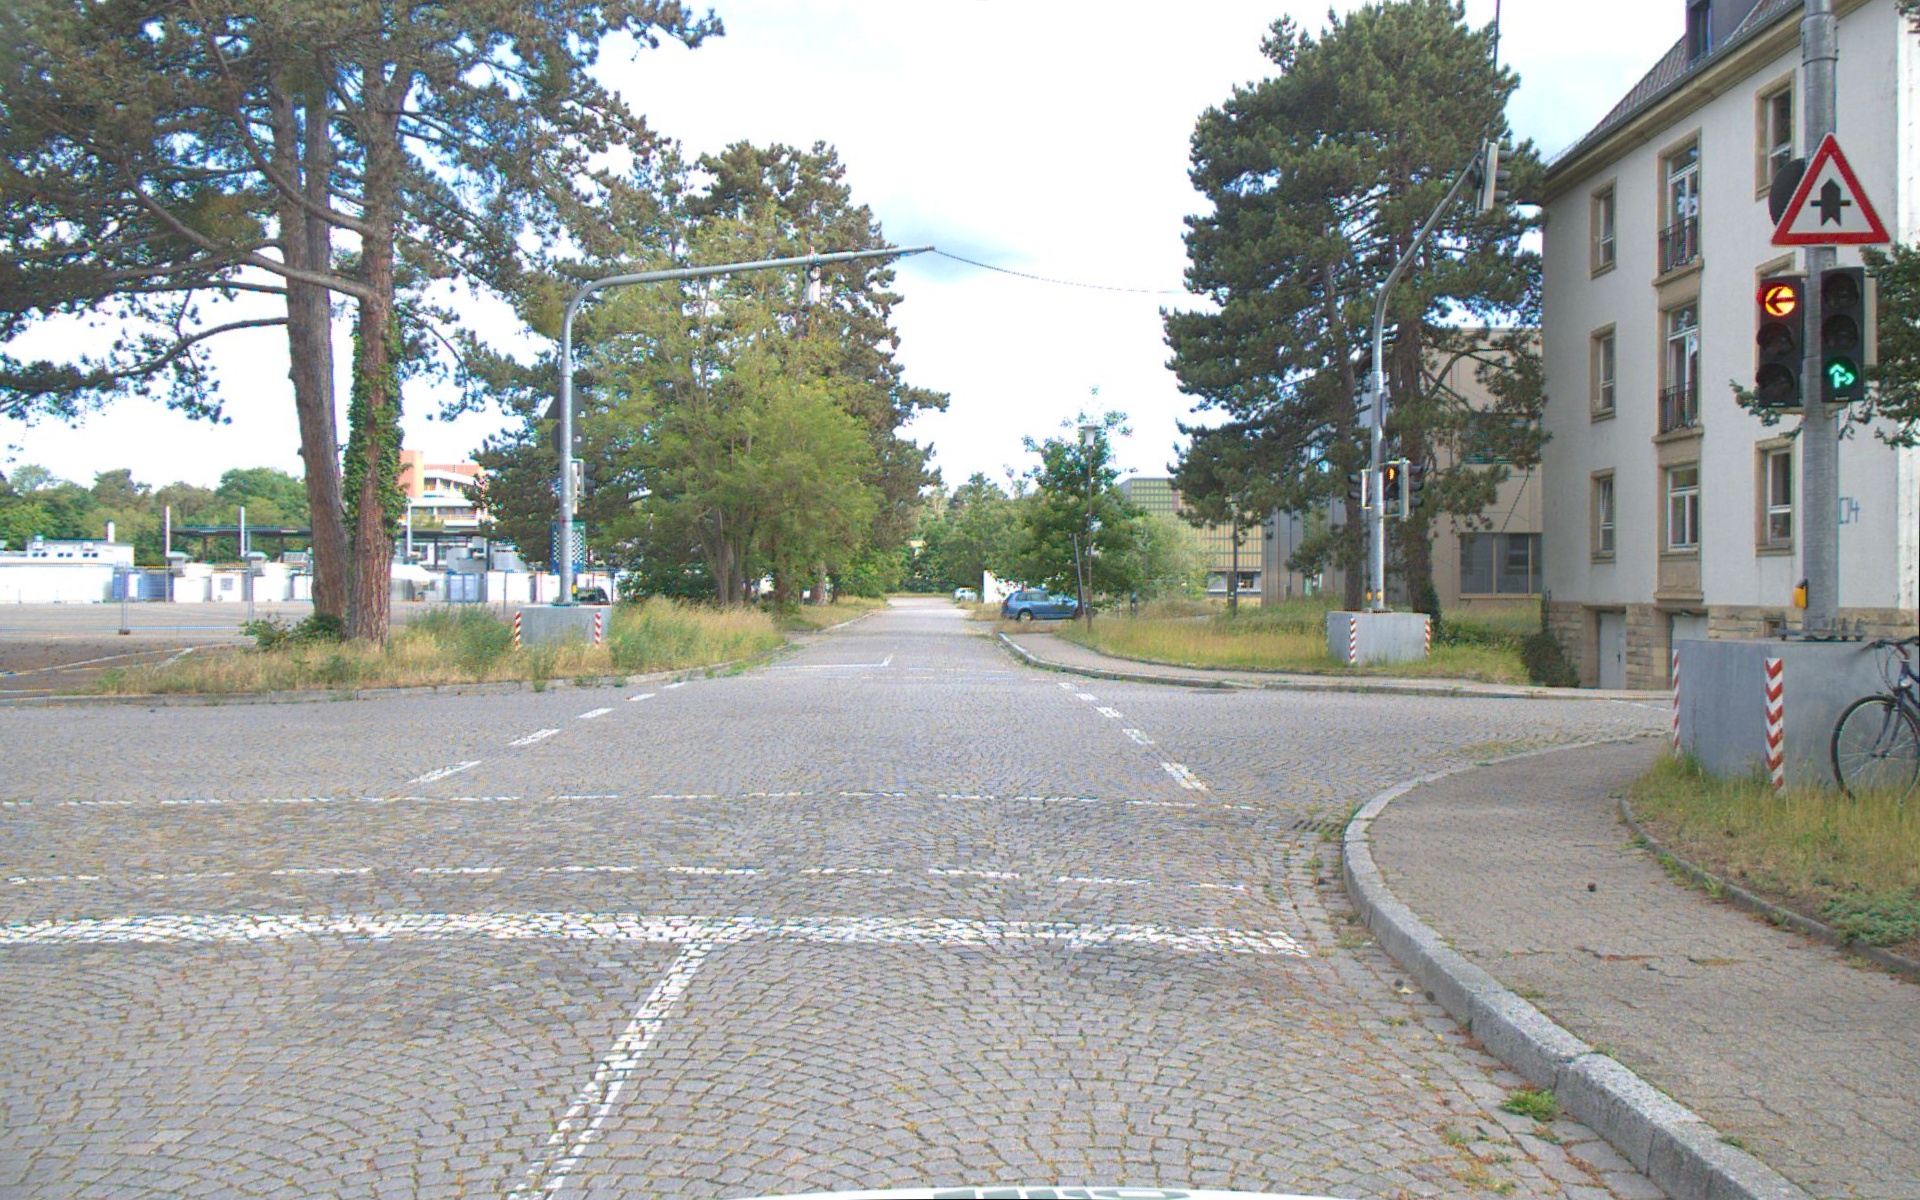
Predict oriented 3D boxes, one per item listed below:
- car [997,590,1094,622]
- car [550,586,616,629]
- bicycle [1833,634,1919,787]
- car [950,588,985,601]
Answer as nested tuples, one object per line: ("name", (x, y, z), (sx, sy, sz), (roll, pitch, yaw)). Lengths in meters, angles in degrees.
("car", (3.898, 0.276, 76.014), (4.257, 1.447, 1.999), (0, 0, -3))
("car", (-13.806, 0.258, 60.705), (1.580, 1.513, 3.999), (0, 0, -1))
("bicycle", (6.330, 0.664, 10.136), (1.665, 0.889, 0.573), (0, 0, -1))
("car", (0.886, -0.663, 193.032), (3.911, 1.422, 1.997), (0, 0, -7))
